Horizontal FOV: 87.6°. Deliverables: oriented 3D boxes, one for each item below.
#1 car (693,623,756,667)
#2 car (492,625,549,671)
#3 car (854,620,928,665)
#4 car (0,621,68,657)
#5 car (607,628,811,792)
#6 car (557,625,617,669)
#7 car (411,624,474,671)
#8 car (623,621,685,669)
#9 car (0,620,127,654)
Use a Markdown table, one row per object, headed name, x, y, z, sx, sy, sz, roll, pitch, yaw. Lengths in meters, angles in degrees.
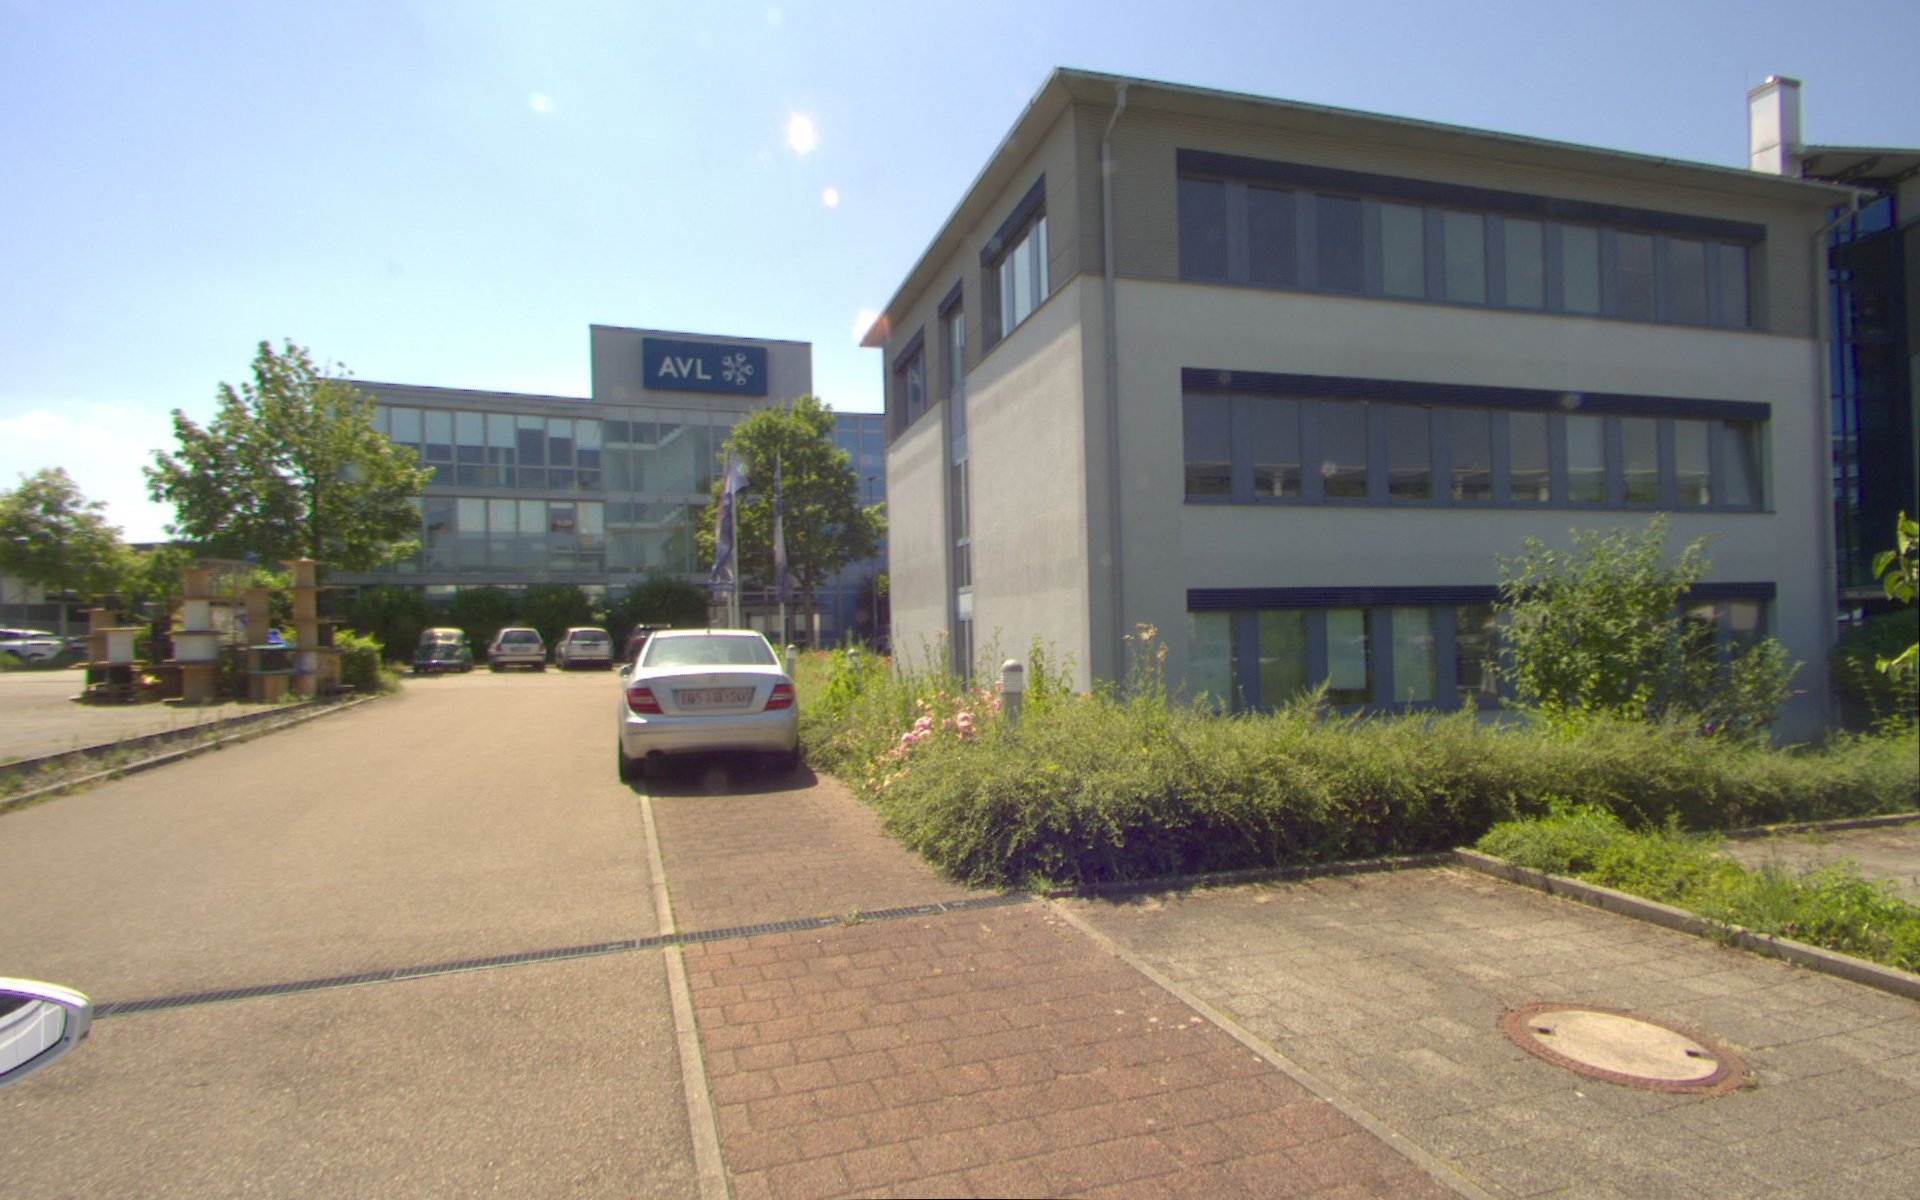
| name | x | y | z | sx | sy | sz | roll | pitch | yaw |
| --- | --- | --- | --- | --- | --- | --- | --- | --- | --- |
| car | -8.977 | 1.663 | 37.927 | 1.746 | 1.501 | 4.247 | 0 | -1 | -21 |
| car | -15.387 | 1.637 | 34.974 | 1.710 | 1.467 | 3.640 | 1 | -1 | -25 |
| car | -2.837 | 1.663 | 40.305 | 1.795 | 1.641 | 4.328 | 0 | -1 | -21 |
| car | -42.494 | 1.677 | 43.919 | 4.761 | 1.511 | 2.000 | 0 | -1 | -6 |
| car | -2.845 | 1.042 | 11.114 | 1.773 | 1.416 | 4.414 | 0 | -2 | -16 |
| car | -13.540 | 1.663 | 36.248 | 1.743 | 1.467 | 3.640 | 1 | -1 | -25 |
| car | -17.533 | 1.569 | 34.055 | 1.521 | 1.467 | 3.643 | 1 | -1 | -22 |
| car | -11.340 | 1.613 | 36.950 | 1.901 | 1.631 | 3.975 | 1 | -1 | -21 |
| car | -42.424 | 1.728 | 47.000 | 4.761 | 1.511 | 2.000 | 0 | -1 | -6 |
